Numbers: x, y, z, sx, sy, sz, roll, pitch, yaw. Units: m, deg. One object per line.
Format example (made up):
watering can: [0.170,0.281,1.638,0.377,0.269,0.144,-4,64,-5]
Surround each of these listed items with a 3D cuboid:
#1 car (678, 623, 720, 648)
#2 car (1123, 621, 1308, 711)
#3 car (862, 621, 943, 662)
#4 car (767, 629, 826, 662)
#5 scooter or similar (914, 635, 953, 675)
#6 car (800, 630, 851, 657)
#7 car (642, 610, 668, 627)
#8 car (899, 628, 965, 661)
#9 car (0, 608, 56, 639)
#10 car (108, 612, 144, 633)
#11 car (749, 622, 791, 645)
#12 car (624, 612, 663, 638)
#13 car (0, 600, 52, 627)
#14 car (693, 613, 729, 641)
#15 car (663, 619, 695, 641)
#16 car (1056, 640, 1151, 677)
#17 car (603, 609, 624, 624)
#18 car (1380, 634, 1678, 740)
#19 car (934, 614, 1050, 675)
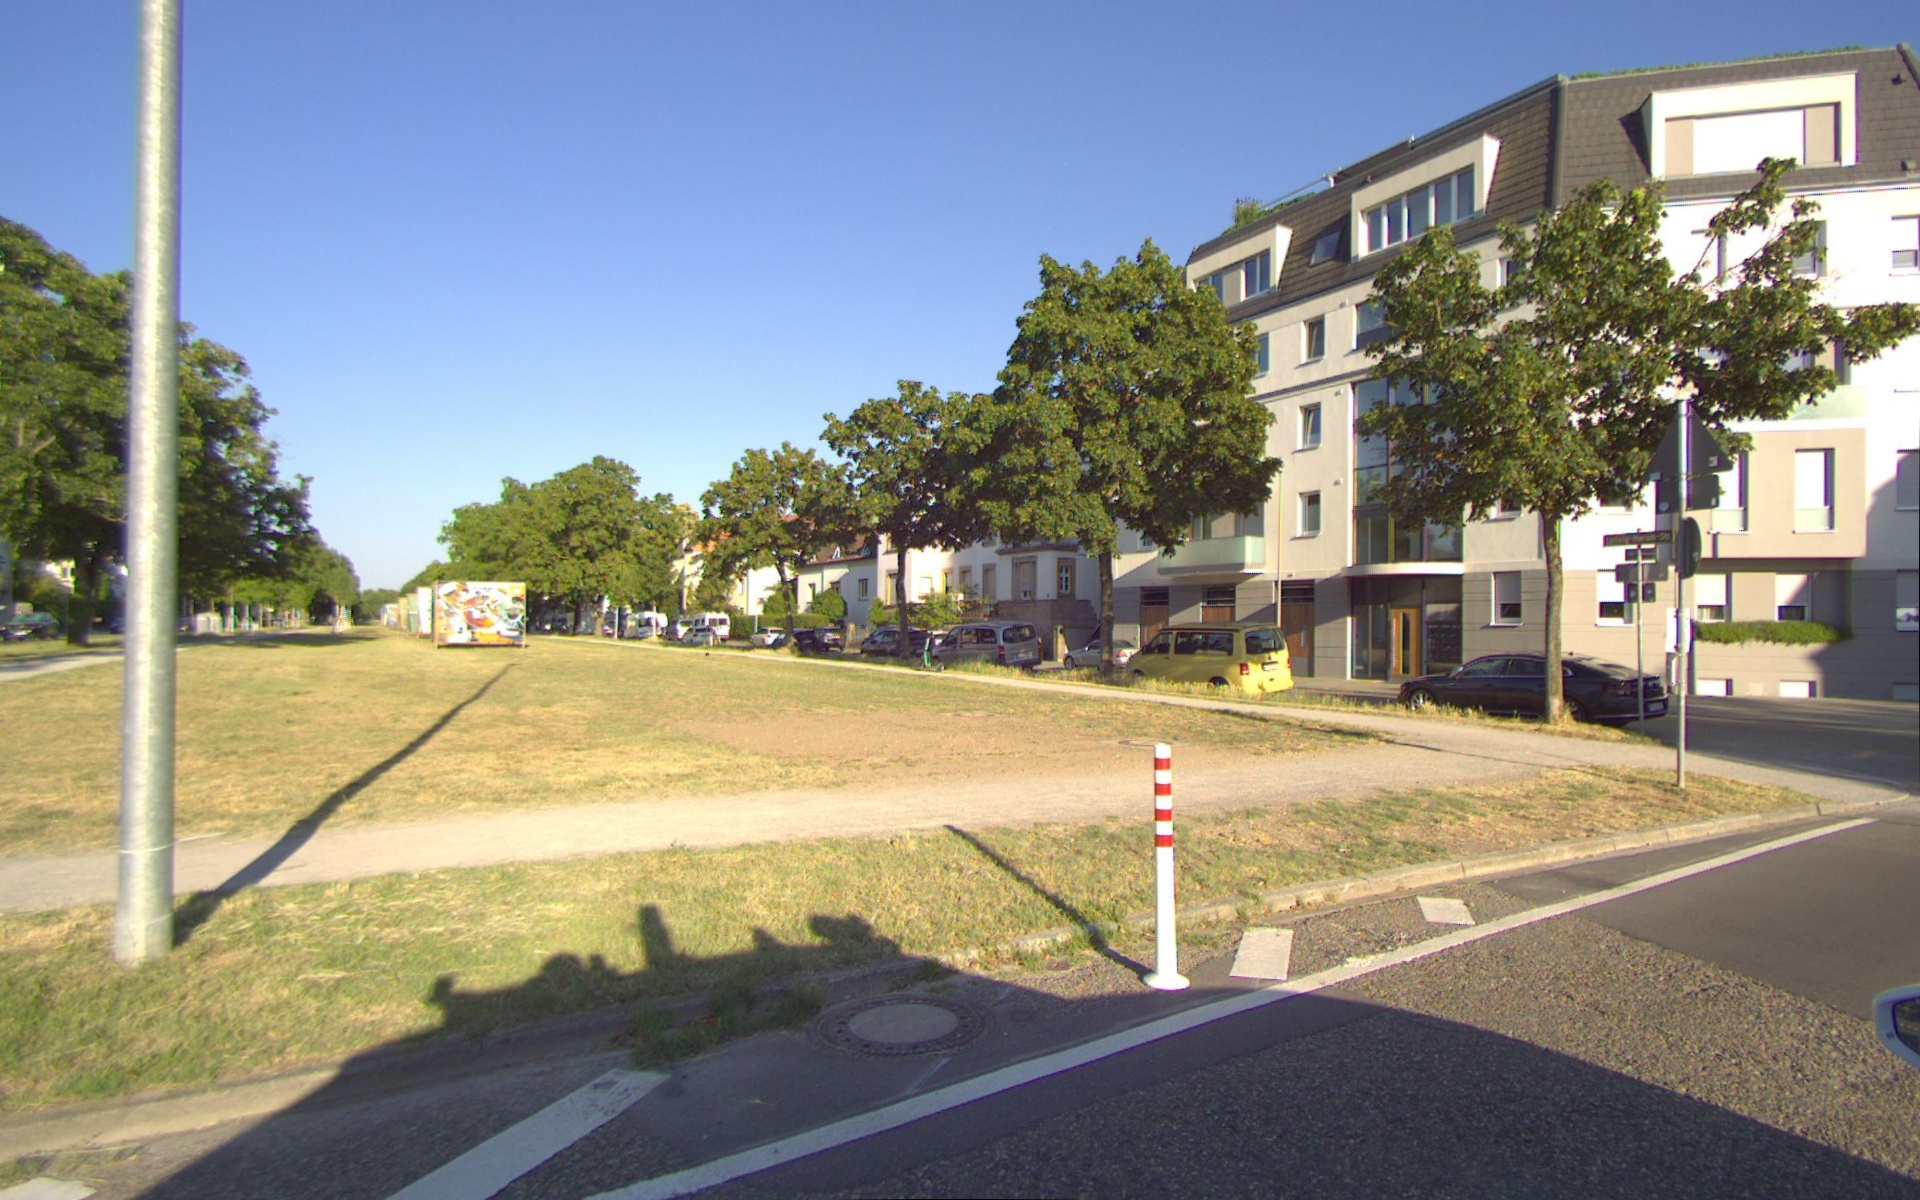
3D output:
car: [-17.752,2.386,68.284,1.805,1.601,3.805,2,-1,-30]
car: [6.617,1.639,26.553,2.010,2.040,4.655,-2,1,-31]
car: [-2.445,1.706,41.814,1.805,1.601,3.805,2,-1,-30]
car: [-8.634,2.378,52.860,1.805,1.601,3.805,2,-1,-30]
scooter or similar: [-0.808,1.659,30.534,0.448,1.130,1.635,1,-1,-30]
car: [-8.625,2.736,64.104,1.805,1.601,4.129,2,-1,-30]
car: [-31.872,1.932,104.796,1.844,1.696,4.101,2,-1,-28]
car: [-1.509,2.307,52.330,1.805,1.601,3.805,2,-1,-30]
car: [-55.593,1.385,59.905,1.787,1.739,3.317,3,-2,-31]
car: [-70.492,1.894,84.913,1.831,1.718,3.965,0,0,-32]
car: [-13.779,2.410,72.707,1.805,1.601,3.935,2,-1,-30]
car: [-25.668,2.020,81.438,2.201,1.971,4.476,2,-1,-28]
car: [-62.272,0.912,67.013,1.831,1.718,3.965,0,0,-32]
car: [-21.035,2.261,84.746,1.975,2.243,4.101,2,-1,-28]
car: [-26.137,2.738,93.389,1.975,1.971,4.101,2,-1,-28]
car: [5.591,2.285,39.525,1.610,1.256,3.695,3,-2,-34]
car: [-43.253,2.046,125.343,1.825,1.765,3.867,2,-1,-28]
car: [10.752,1.560,19.406,1.767,1.691,4.801,2,-1,-30]
car: [1.086,1.567,36.546,2.056,2.040,4.537,2,-2,-31]
